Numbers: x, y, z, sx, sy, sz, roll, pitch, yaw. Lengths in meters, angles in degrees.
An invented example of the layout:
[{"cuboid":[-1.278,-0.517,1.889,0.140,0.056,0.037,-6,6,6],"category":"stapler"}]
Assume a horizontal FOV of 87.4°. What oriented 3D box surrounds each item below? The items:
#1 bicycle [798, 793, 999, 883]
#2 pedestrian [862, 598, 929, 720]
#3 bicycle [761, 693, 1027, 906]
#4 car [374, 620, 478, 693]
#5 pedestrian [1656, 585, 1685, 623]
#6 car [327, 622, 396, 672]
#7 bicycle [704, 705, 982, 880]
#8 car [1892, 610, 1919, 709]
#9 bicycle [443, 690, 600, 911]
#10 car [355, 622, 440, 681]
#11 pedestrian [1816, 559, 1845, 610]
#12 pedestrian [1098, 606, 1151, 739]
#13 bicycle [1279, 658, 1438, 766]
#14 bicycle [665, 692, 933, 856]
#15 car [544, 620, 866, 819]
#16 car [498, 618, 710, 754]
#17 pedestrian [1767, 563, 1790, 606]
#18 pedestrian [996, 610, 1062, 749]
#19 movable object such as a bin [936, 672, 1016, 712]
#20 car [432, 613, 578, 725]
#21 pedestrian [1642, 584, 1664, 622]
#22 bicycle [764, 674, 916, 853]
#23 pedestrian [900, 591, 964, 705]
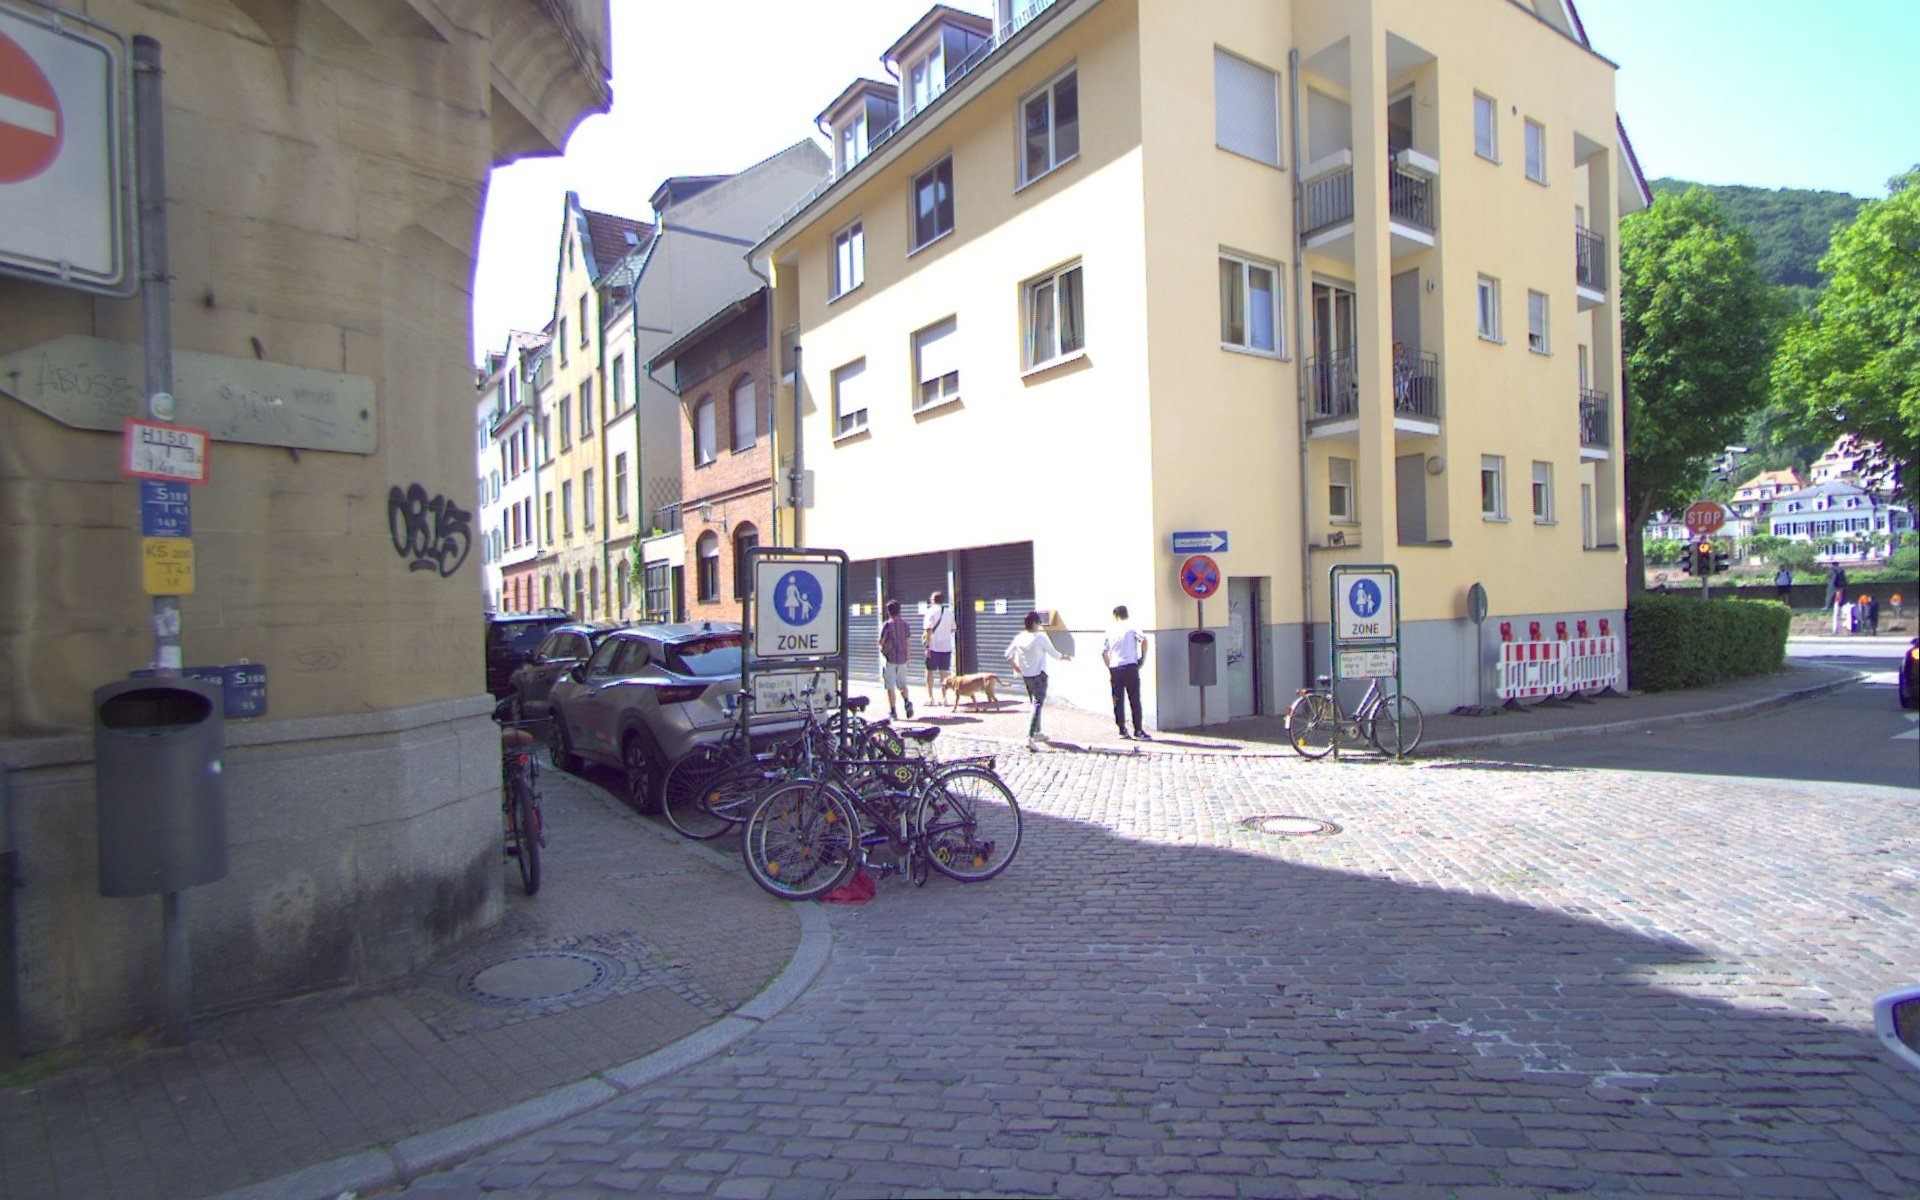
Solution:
[{"cuboid":[-0.456,1.611,6.941,1.107,0.291,1.073,-1,-1,-22],"category":"bicycle"},{"cuboid":[-0.983,0.870,15.198,0.613,1.768,0.854,2,0,-34],"category":"pedestrian"},{"cuboid":[-0.377,1.173,6.130,1.618,1.100,0.284,-1,3,-23],"category":"bicycle"},{"cuboid":[-12.354,1.224,23.144,1.646,1.462,3.822,0,0,-35],"category":"car"},{"cuboid":[28.492,0.143,40.277,1.371,1.499,0.464,-1,0,-34],"category":"pedestrian"},{"cuboid":[-19.623,1.477,32.863,1.646,1.462,3.822,0,0,-35],"category":"car"},{"cuboid":[-0.738,1.239,6.657,1.633,1.085,0.285,0,42,-48],"category":"bicycle"},{"cuboid":[16.793,0.865,16.347,4.683,1.481,1.701,-1,-3,-39],"category":"car"},{"cuboid":[-2.722,1.142,6.152,0.491,1.100,1.626,4,-4,-36],"category":"bicycle"},{"cuboid":[-15.736,1.376,27.997,1.646,1.462,4.030,0,0,-35],"category":"car"},{"cuboid":[33.210,-0.582,38.335,0.752,1.882,0.754,-1,0,34],"category":"pedestrian"},{"cuboid":[2.079,0.899,12.712,0.644,1.639,0.493,0,0,9],"category":"pedestrian"},{"cuboid":[4.553,1.250,11.449,1.880,1.093,0.390,-1,-1,-20],"category":"bicycle"},{"cuboid":[-1.085,1.181,7.005,1.633,1.085,0.285,0,42,-48],"category":"bicycle"},{"cuboid":[-2.761,1.023,10.229,1.835,1.564,3.888,-1,-1,-37],"category":"car"},{"cuboid":[-5.131,1.070,14.168,1.834,1.565,3.960,0,0,-35],"category":"car"},{"cuboid":[33.879,-0.614,41.568,0.700,1.755,0.753,-1,0,42],"category":"pedestrian"},{"cuboid":[0.861,0.965,12.426,0.676,1.639,0.757,2,-2,12],"category":"pedestrian"},{"cuboid":[0.237,1.382,15.160,1.221,0.571,0.300,-2,-2,31],"category":"movable object such as a bin"},{"cuboid":[-7.837,1.066,17.124,1.553,1.657,3.822,0,0,-36],"category":"car"},{"cuboid":[27.989,0.136,40.557,0.796,1.513,0.464,-1,0,-34],"category":"pedestrian"},{"cuboid":[-0.893,1.221,7.917,0.280,1.100,1.640,-4,1,26],"category":"bicycle"},{"cuboid":[-0.460,0.756,16.158,0.613,1.768,0.854,2,0,-34],"category":"pedestrian"}]
